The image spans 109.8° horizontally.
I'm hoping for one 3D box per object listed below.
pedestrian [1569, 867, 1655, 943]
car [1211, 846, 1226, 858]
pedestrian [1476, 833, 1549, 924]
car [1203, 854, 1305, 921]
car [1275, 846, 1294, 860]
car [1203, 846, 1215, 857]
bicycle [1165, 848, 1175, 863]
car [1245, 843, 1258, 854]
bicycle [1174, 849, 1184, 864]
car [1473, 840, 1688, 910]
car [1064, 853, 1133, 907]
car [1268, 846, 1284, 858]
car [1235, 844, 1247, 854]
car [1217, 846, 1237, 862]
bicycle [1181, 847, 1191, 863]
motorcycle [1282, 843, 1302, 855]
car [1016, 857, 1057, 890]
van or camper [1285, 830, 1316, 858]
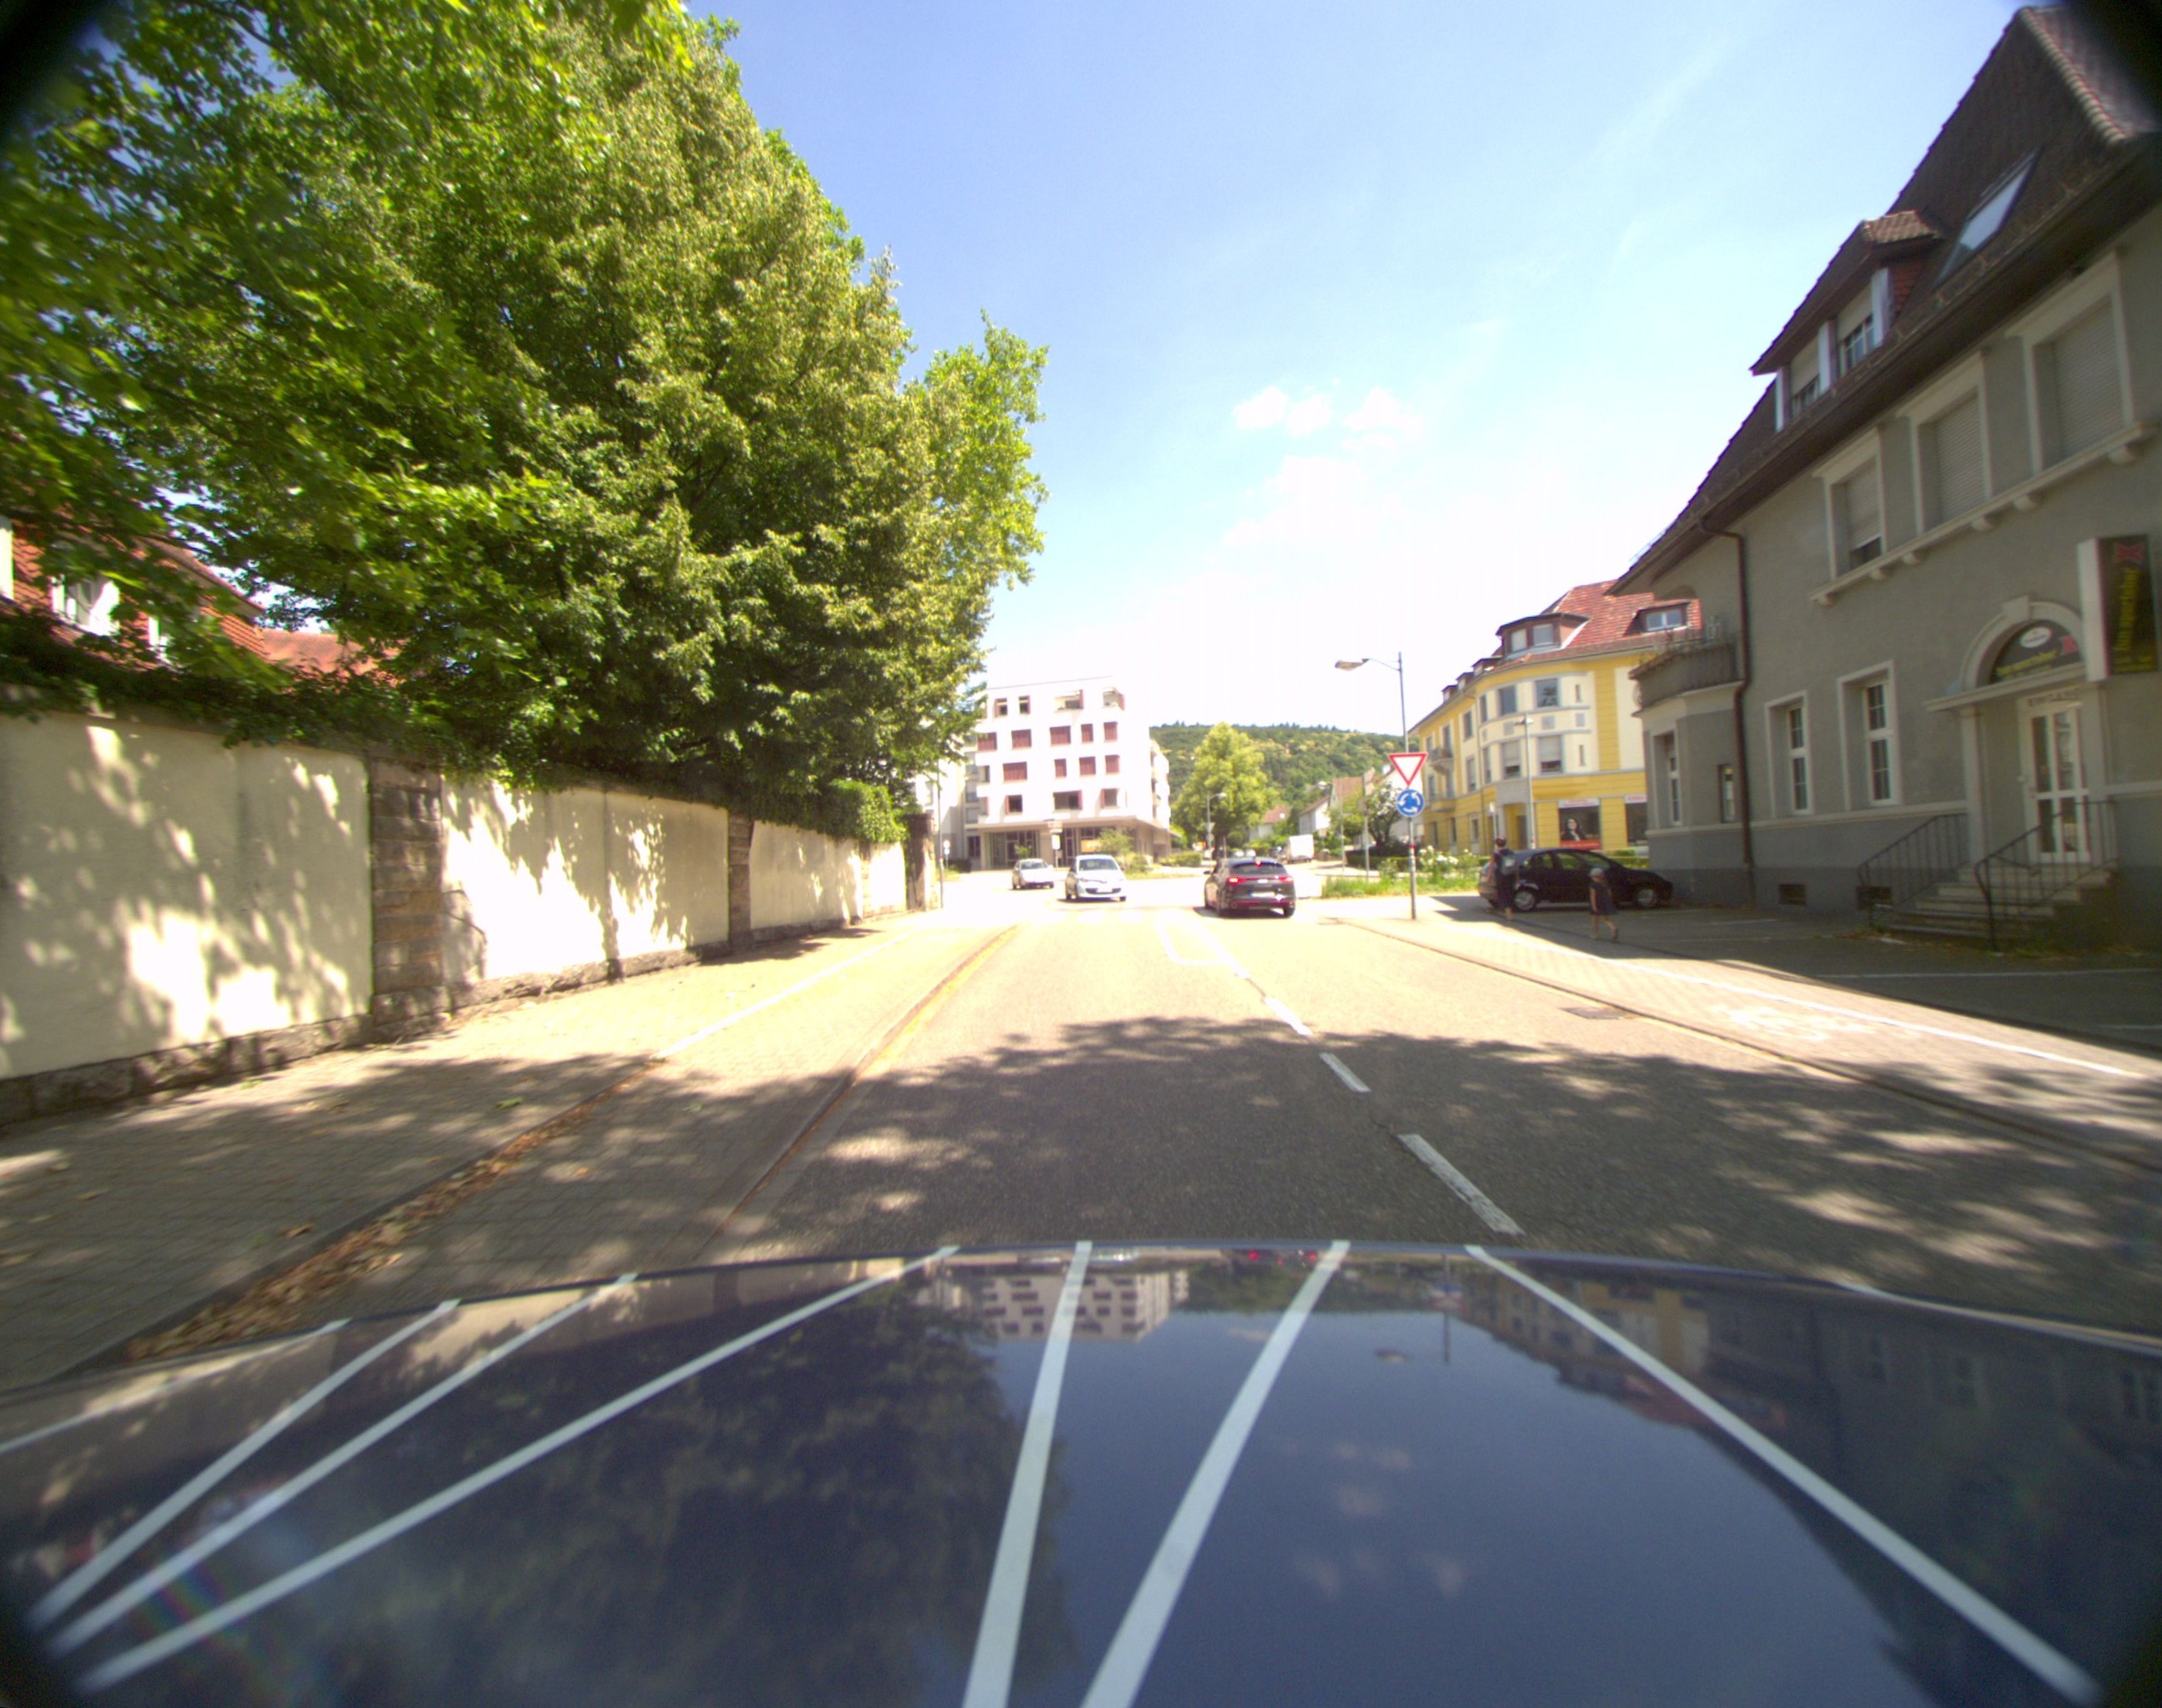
[{"bbox_3d":[8.393,0.786,12.051,0.755,1.115,0.897,-2,1,6],"label":"pedestrian"},{"bbox_3d":[20.097,-0.327,110.829,1.997,1.657,4.002,-2,1,8],"label":"car"},{"bbox_3d":[8.615,0.468,15.211,0.873,1.732,1.113,-2,1,6],"label":"pedestrian"},{"bbox_3d":[4.208,0.745,19.129,1.773,1.418,4.393,-2,0,3],"label":"car"},{"bbox_3d":[23.186,-0.097,86.643,1.754,1.496,3.996,-2,0,11],"label":"car"},{"bbox_3d":[21.735,-0.495,128.847,1.764,1.740,4.003,-2,0,11],"label":"car"},{"bbox_3d":[8.379,0.134,71.290,0.569,1.370,1.750,-2,0,19],"label":"bicycle"},{"bbox_3d":[29.365,-0.946,130.977,1.997,1.657,4.002,-2,1,8],"label":"car"},{"bbox_3d":[9.178,0.194,71.086,0.569,1.370,1.750,-2,0,19],"label":"bicycle"},{"bbox_3d":[11.448,0.473,17.673,3.787,1.452,1.725,-2,0,10],"label":"car"},{"bbox_3d":[0.498,0.796,25.473,1.660,1.516,4.158,-3,1,-7],"label":"car"},{"bbox_3d":[26.026,-0.225,101.505,1.754,1.496,3.996,-2,0,11],"label":"car"},{"bbox_3d":[30.060,-0.970,142.647,1.997,1.657,4.002,-2,1,8],"label":"car"},{"bbox_3d":[14.161,-0.011,73.921,1.754,1.496,3.995,-2,0,9],"label":"car"},{"bbox_3d":[9.836,0.081,70.854,0.569,1.370,1.750,-2,0,19],"label":"bicycle"},{"bbox_3d":[22.918,-0.536,82.372,2.237,1.312,0.738,-2,1,-33],"label":"motorcycle"},{"bbox_3d":[-2.261,0.927,37.585,1.608,1.443,3.997,-2,0,-8],"label":"car"},{"bbox_3d":[22.124,-1.001,76.851,2.271,2.623,5.890,-5,0,10],"label":"van or camper"}]
